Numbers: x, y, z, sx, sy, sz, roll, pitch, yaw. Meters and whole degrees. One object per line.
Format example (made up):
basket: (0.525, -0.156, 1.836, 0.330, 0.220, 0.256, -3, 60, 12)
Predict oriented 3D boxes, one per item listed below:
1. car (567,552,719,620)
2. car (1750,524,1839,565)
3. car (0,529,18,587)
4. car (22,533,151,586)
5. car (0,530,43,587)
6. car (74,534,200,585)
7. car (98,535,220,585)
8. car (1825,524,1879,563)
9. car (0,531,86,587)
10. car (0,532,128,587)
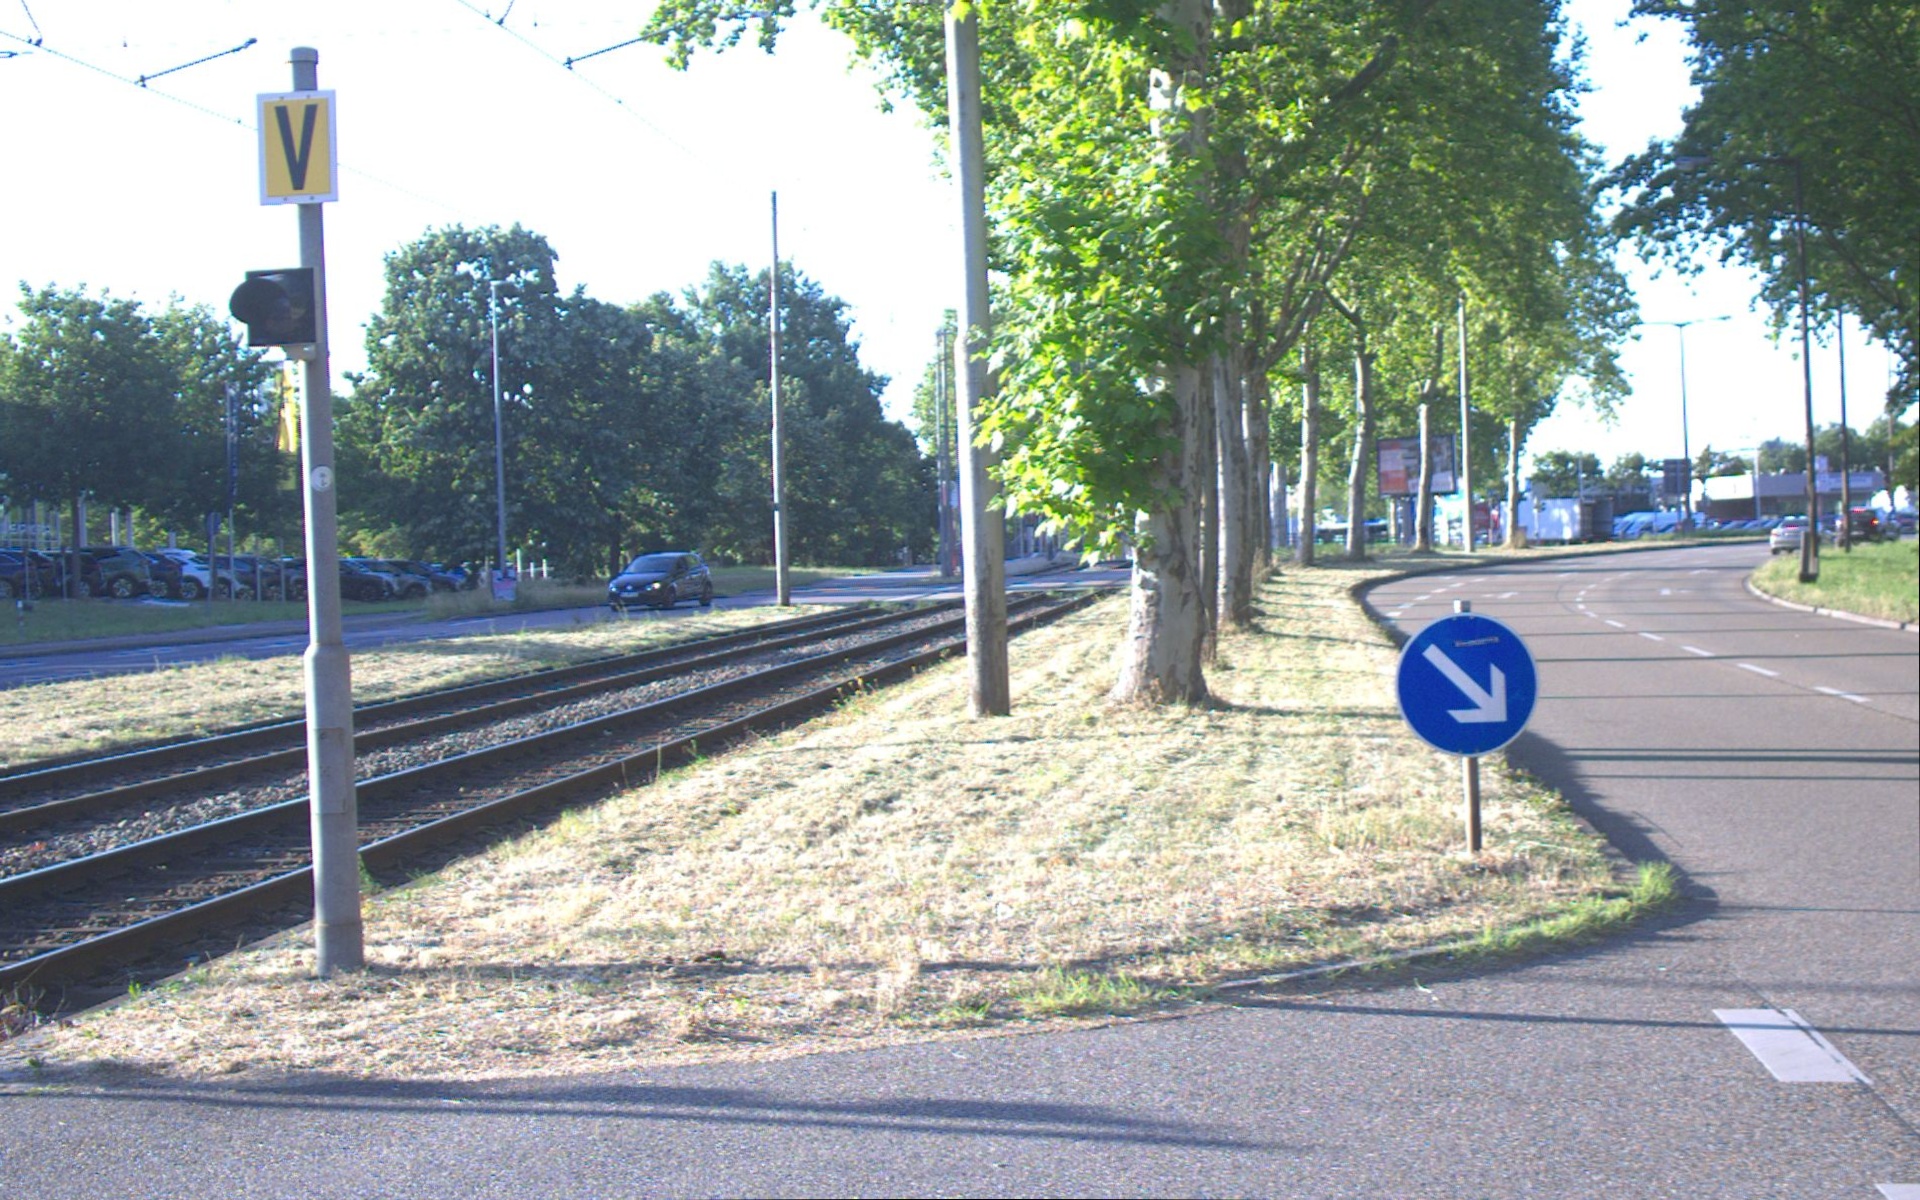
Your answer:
car: (-8.267, -0.374, 89.813, 1.812, 1.678, 3.992, -1, 1, 34)
car: (30.063, -2.006, 123.785, 1.997, 1.437, 3.993, -1, 1, 31)
car: (-27.499, -1.117, 93.029, 3.786, 1.562, 1.760, -1, 0, -13)
car: (-26.668, -1.229, 105.022, 3.786, 1.562, 1.760, -1, 0, -13)
car: (-27.584, -1.140, 95.889, 3.786, 1.562, 1.760, -1, 0, -13)
car: (-25.925, -1.267, 108.333, 3.786, 1.562, 1.760, -1, 0, -13)
car: (-25.901, -1.291, 111.134, 3.786, 1.562, 1.760, -1, 0, -13)
car: (34.638, -2.189, 133.569, 1.995, 1.435, 3.998, -1, 1, 14)
car: (-27.095, -1.171, 98.840, 3.786, 1.562, 1.760, -1, 0, -13)
car: (-26.711, -1.205, 102.208, 3.786, 1.562, 1.760, -1, 0, -13)
